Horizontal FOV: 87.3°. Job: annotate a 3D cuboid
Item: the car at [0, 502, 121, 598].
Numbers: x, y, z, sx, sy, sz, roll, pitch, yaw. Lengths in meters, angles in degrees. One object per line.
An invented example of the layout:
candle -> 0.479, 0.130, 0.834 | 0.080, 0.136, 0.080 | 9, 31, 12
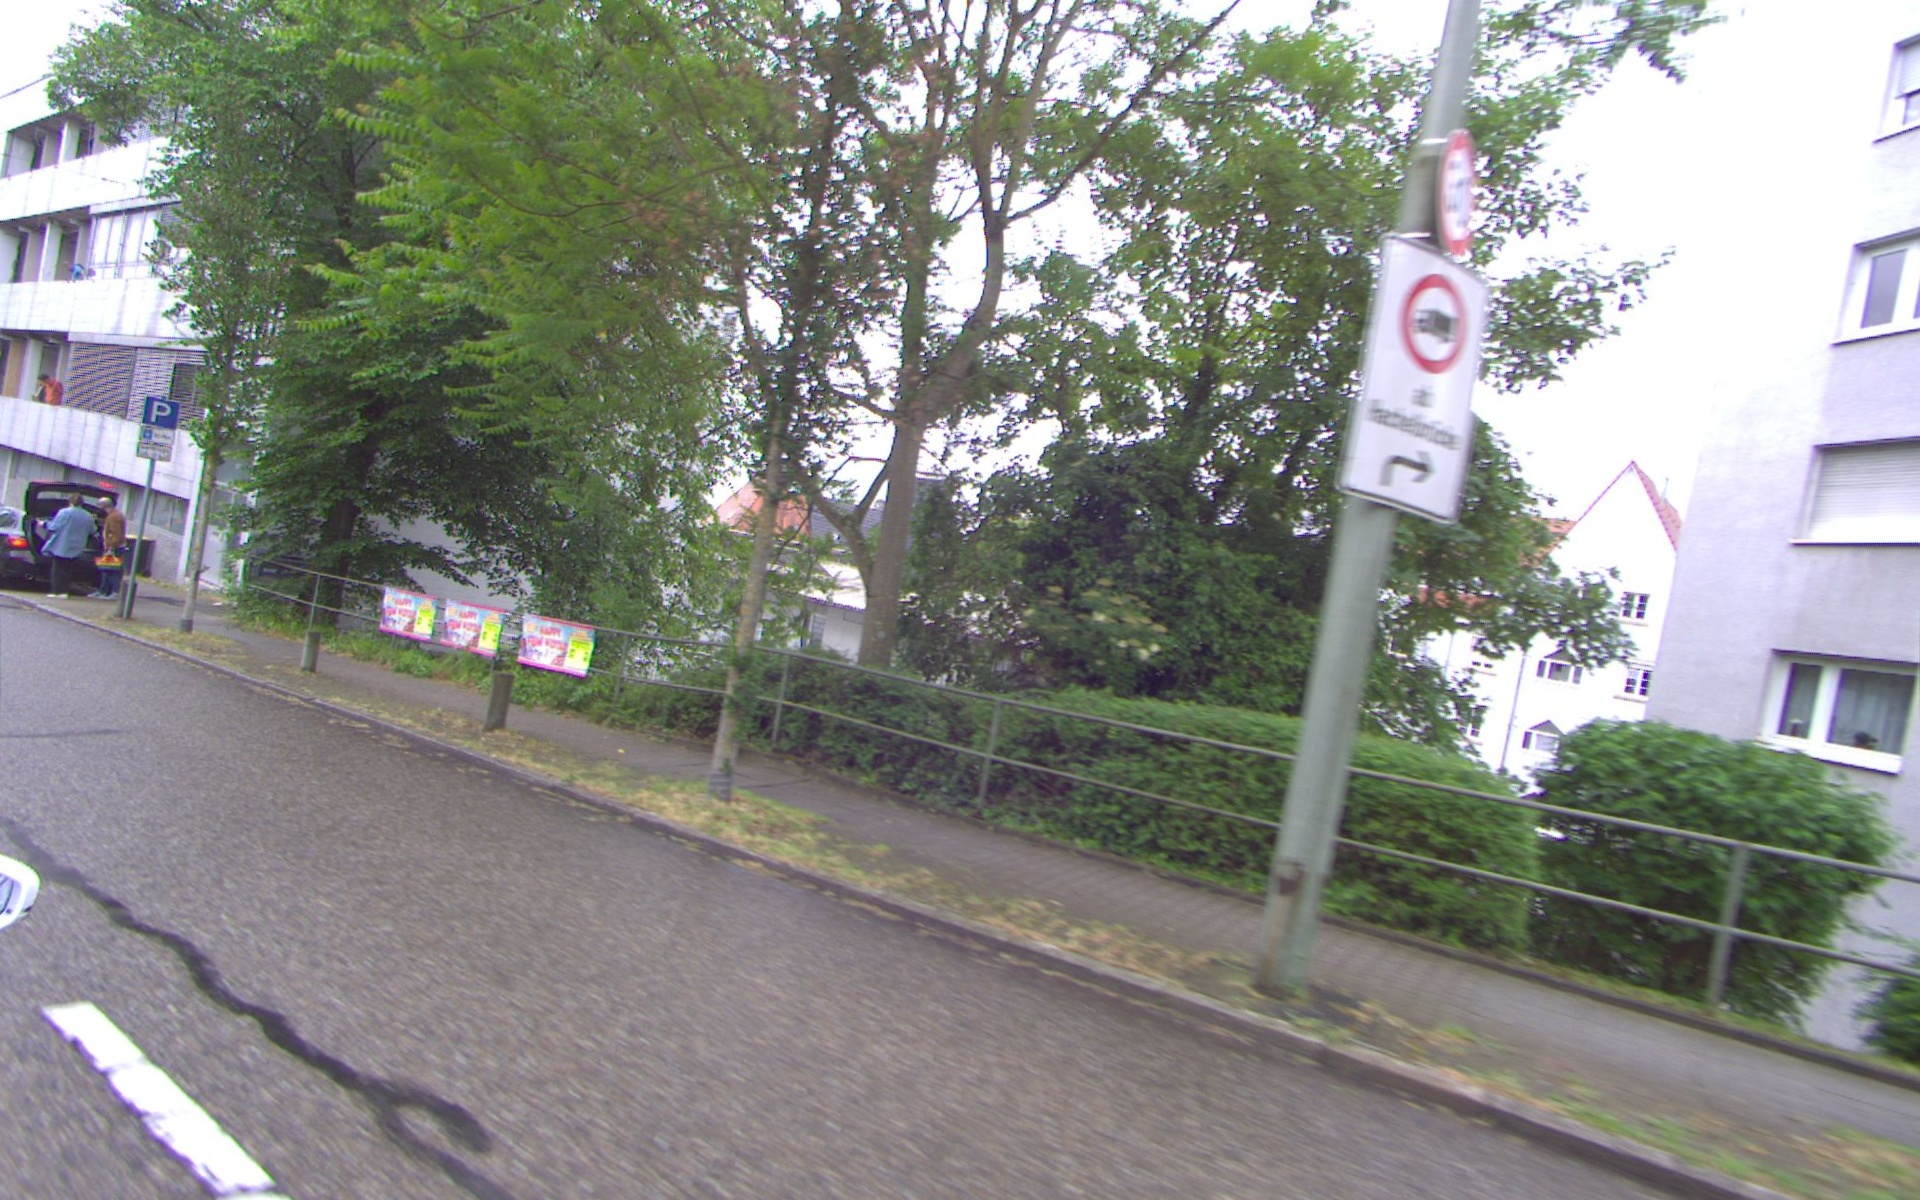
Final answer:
car -> -17.322, -1.016, 18.680 | 3.935, 1.452, 1.505 | 7, 0, 33

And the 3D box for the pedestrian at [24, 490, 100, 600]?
pedestrian -> -15.179, -0.929, 17.034 | 0.758, 1.746, 0.730 | 6, 3, -35

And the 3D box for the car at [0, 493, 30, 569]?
car -> -21.940, -1.697, 21.851 | 3.937, 1.482, 1.682 | 8, 0, 35

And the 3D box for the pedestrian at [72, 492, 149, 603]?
pedestrian -> -15.121, -0.929, 17.923 | 0.654, 1.860, 0.687 | 7, 2, -7
